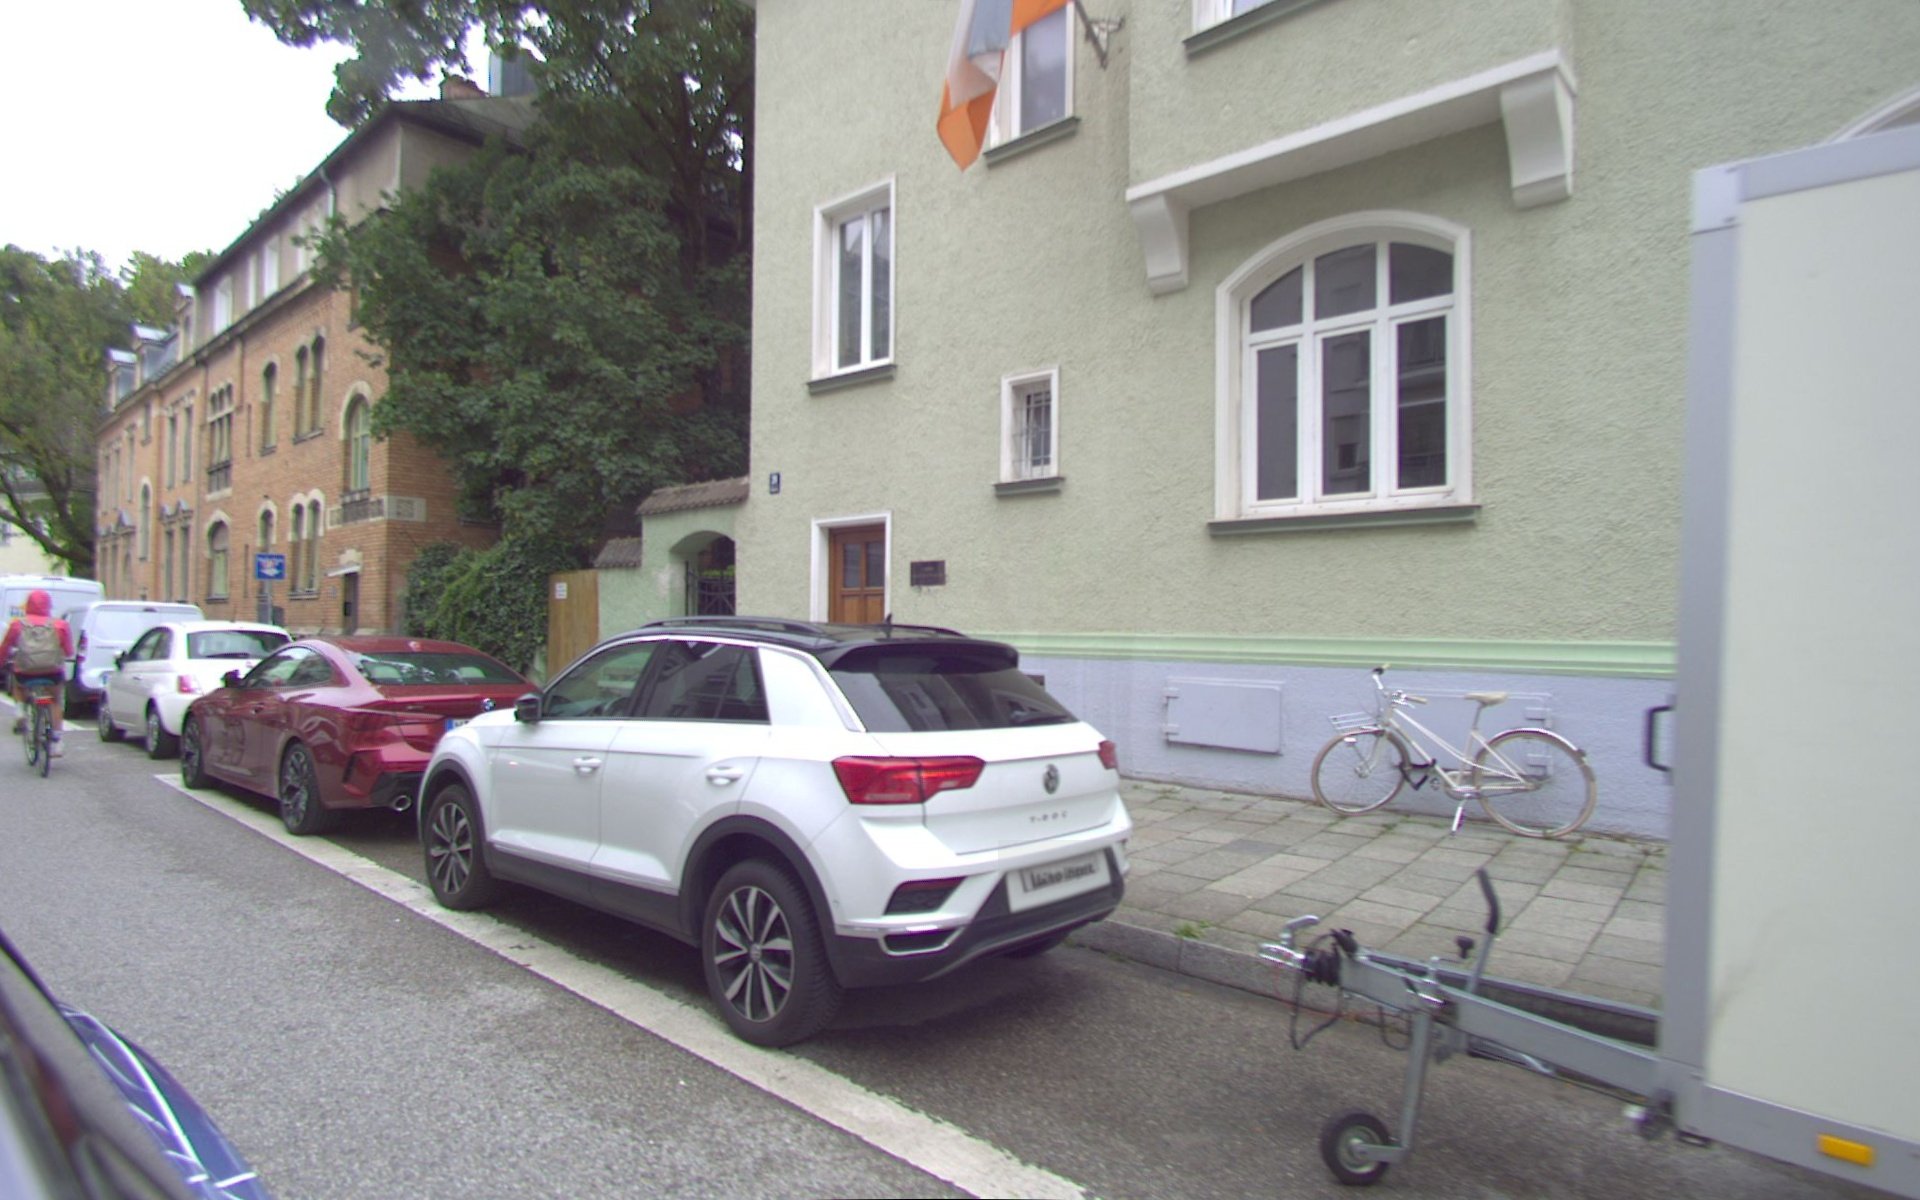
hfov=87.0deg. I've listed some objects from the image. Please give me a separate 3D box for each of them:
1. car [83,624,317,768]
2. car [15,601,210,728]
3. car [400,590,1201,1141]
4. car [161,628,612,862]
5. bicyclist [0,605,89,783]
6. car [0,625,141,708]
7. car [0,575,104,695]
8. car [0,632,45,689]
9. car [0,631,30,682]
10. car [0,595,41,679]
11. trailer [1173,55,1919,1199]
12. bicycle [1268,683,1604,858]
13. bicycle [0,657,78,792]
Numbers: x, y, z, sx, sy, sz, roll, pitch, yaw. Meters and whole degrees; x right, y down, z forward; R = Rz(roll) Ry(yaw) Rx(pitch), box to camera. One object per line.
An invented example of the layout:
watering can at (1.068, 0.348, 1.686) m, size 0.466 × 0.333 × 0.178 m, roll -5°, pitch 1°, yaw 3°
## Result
car at (-9.108, 1.052, 12.062) m, size 3.310 × 1.478 × 1.458 m, roll -1°, pitch -4°, yaw 40°
car at (-13.844, 1.003, 16.450) m, size 4.142 × 1.817 × 1.673 m, roll -2°, pitch -4°, yaw 40°
car at (-1.006, 0.863, 4.919) m, size 3.918 × 1.615 × 1.669 m, roll -2°, pitch -4°, yaw 40°
car at (-4.960, 1.003, 8.494) m, size 4.330 × 1.423 × 1.842 m, roll 0°, pitch -4°, yaw 40°
bicyclist at (-8.707, 0.856, 9.484) m, size 0.967 × 1.573 × 0.686 m, roll -2°, pitch -4°, yaw 44°
car at (-17.471, 1.248, 19.668) m, size 4.143 × 1.454 × 1.672 m, roll -2°, pitch -4°, yaw 41°
car at (-21.660, 0.813, 23.446) m, size 5.221 × 2.497 × 1.960 m, roll -1°, pitch -4°, yaw 41°
car at (-26.034, 1.610, 27.329) m, size 3.539 × 1.454 × 1.507 m, roll -2°, pitch -4°, yaw 41°
car at (-29.236, 1.662, 30.233) m, size 3.982 × 1.454 × 1.672 m, roll -2°, pitch -4°, yaw 41°
car at (-31.311, 1.179, 32.487) m, size 4.420 × 2.560 × 2.090 m, roll -2°, pitch -6°, yaw 42°
trailer at (2.734, 0.325, 1.795) m, size 4.387 × 2.480 × 1.690 m, roll -2°, pitch -5°, yaw 44°
bicycle at (3.086, 1.056, 6.693) m, size 1.926 × 0.913 × 0.517 m, roll -2°, pitch 1°, yaw 38°
bicycle at (-8.767, 1.122, 9.533) m, size 1.773 × 1.137 × 0.498 m, roll -2°, pitch -4°, yaw 44°
